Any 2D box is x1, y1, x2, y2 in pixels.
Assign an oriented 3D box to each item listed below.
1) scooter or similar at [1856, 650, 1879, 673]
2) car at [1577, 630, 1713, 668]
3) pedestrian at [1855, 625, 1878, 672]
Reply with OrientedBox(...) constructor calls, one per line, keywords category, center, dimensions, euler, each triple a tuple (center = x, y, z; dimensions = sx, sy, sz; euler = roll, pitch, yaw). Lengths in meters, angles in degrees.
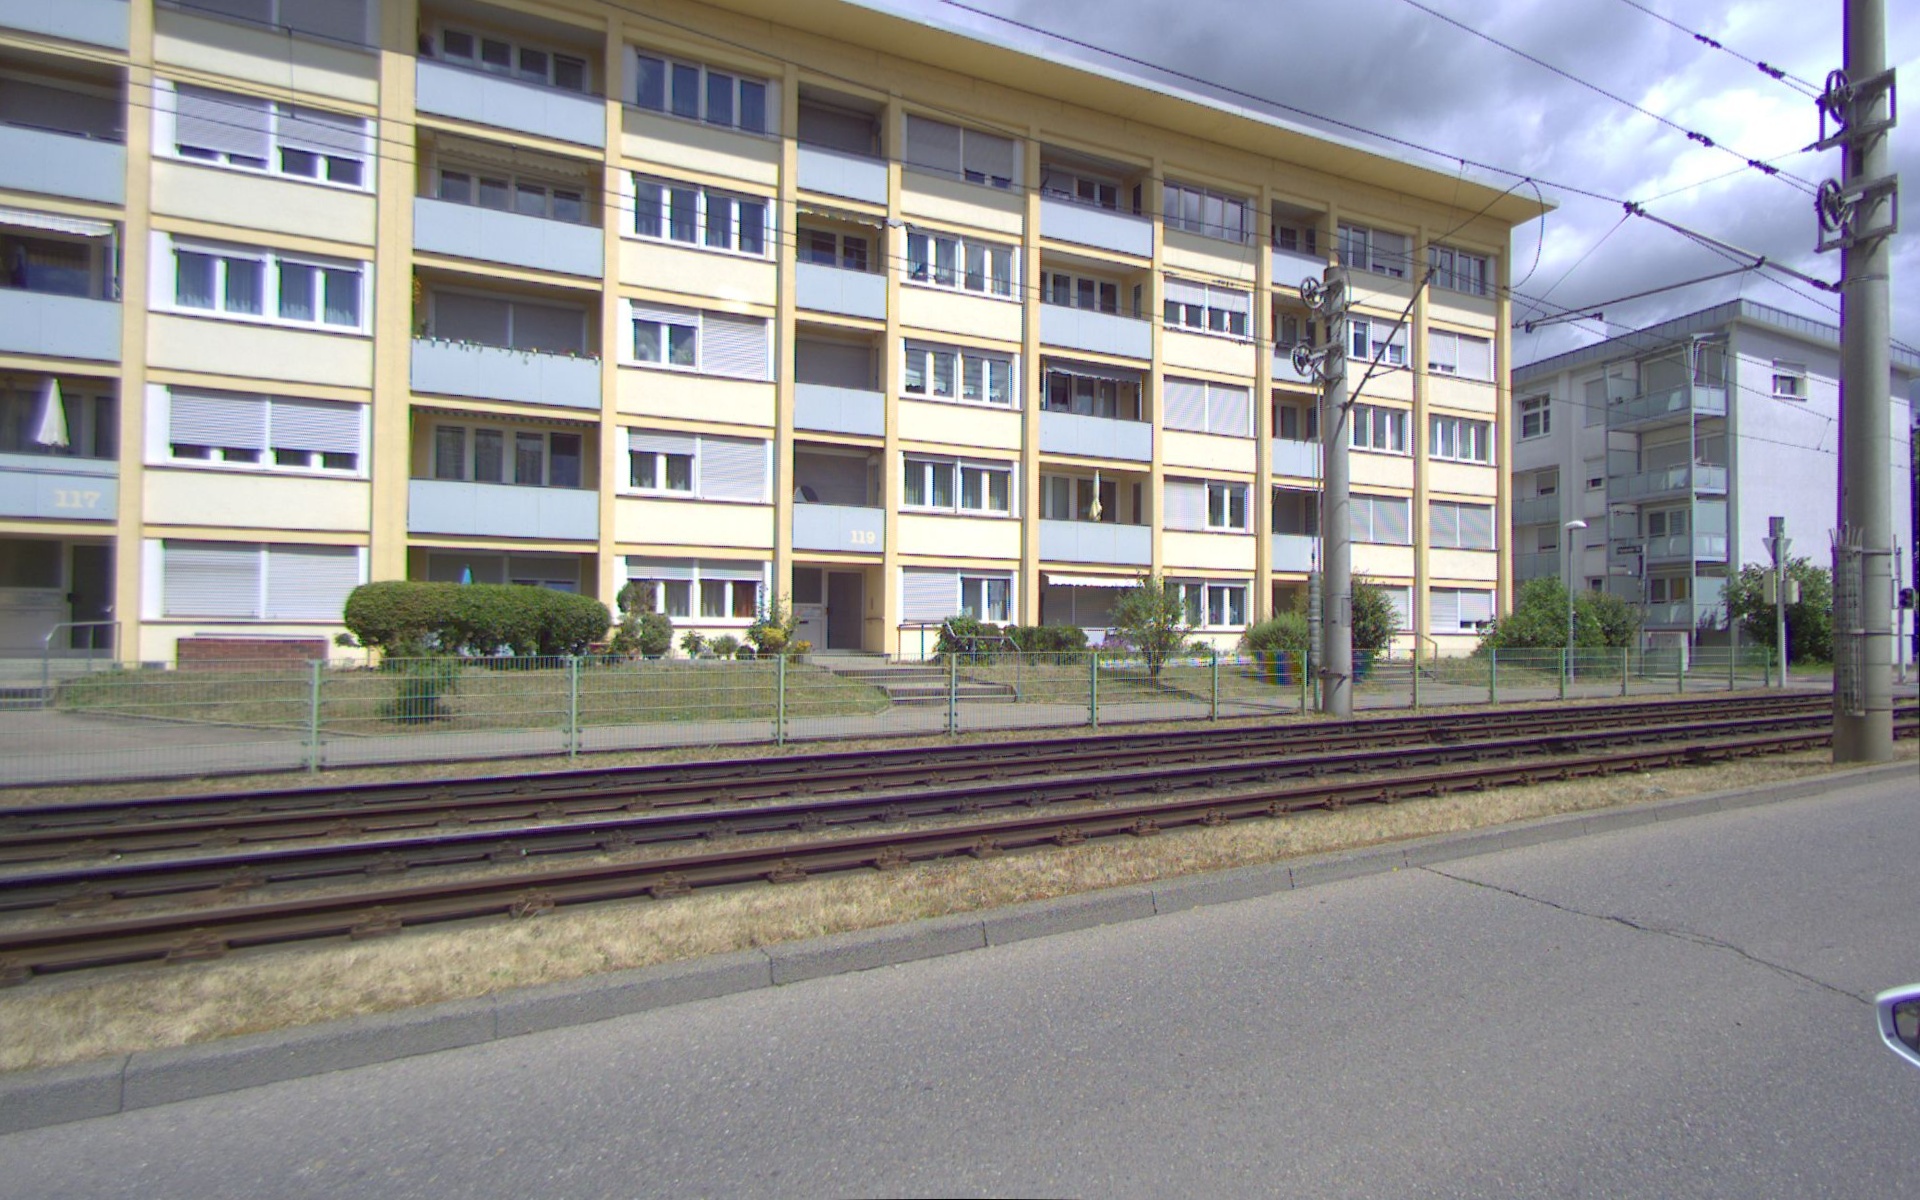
OrientedBox(category="scooter or similar", center=(30.762, 2.078, 34.037), dimensions=(0.468, 0.757, 0.436), euler=(1, -1, -25))
OrientedBox(category="car", center=(26.354, 1.838, 38.787), dimensions=(1.873, 1.363, 3.980), euler=(1, -2, -21))
OrientedBox(category="pedestrian", center=(31.089, 1.669, 34.453), dimensions=(0.468, 1.602, 0.436), euler=(1, -1, -25))
